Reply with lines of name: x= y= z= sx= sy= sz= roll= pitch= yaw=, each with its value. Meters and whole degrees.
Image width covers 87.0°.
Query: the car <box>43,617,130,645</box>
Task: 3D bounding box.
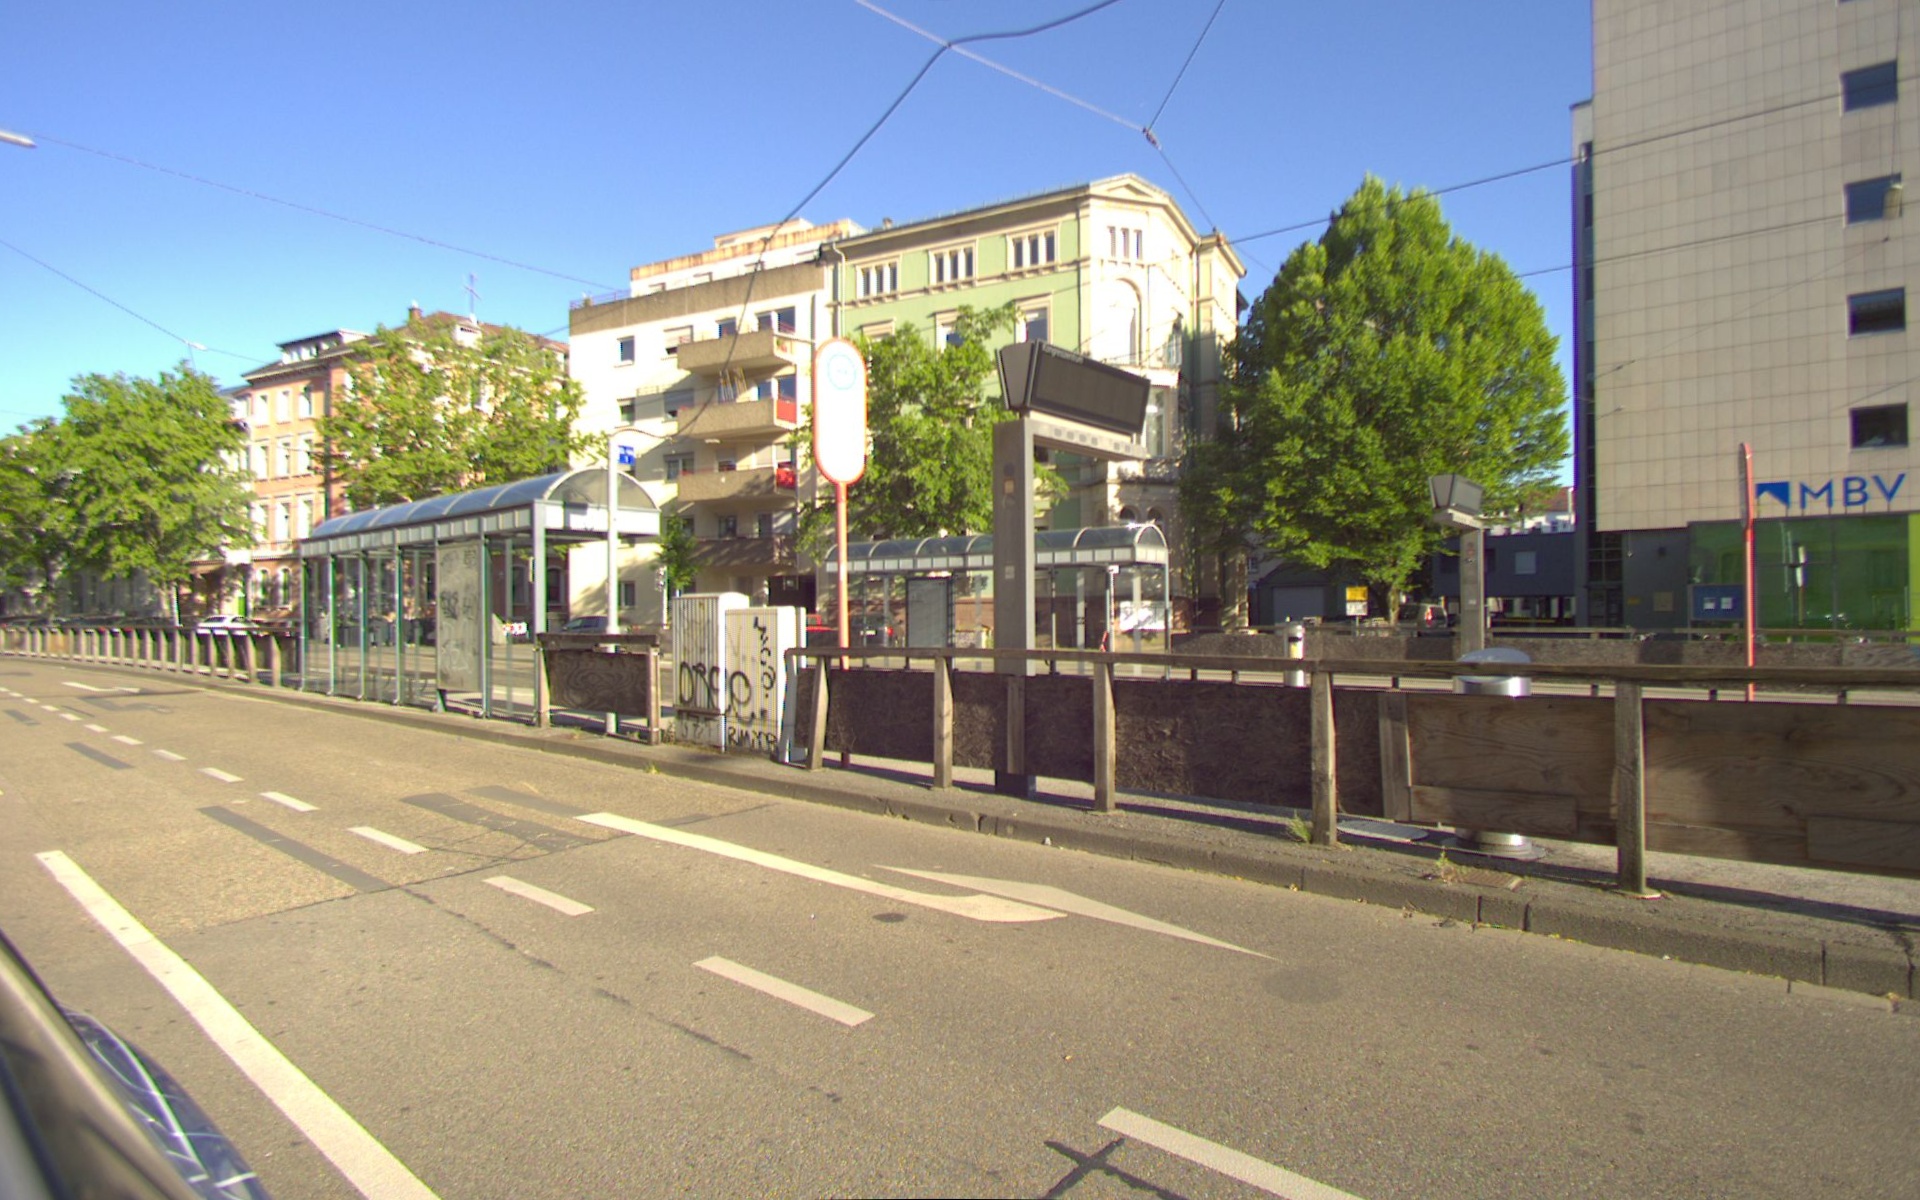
car: x=-54.308 y=1.927 z=62.965 sx=2.001 sy=1.697 sz=3.942 roll=-2 pitch=-2 yaw=44

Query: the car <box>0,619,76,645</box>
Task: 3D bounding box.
car: x=-59.617 y=2.052 z=65.276 sx=3.811 sy=1.604 sz=2.001 roll=1 pitch=-2 yaw=-45

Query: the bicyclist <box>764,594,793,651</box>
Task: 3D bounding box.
bicyclist: x=-5.719 y=0.710 z=31.834 sx=0.770 sy=1.774 sz=0.529 roll=-3 pitch=-3 yaw=41

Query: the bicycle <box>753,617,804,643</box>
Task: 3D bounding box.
bicycle: x=-5.726 y=0.938 z=31.842 sx=1.852 sy=0.793 sz=0.529 roll=-3 pitch=-2 yaw=41

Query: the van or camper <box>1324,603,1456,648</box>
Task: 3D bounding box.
van or camper: x=15.498 y=0.884 z=36.552 sx=3.998 sy=1.417 sz=1.943 roll=2 pitch=0 yaw=41

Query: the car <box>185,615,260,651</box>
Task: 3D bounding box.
car: x=-39.529 y=1.747 z=54.381 sx=1.966 sy=1.736 sz=4.012 roll=0 pitch=1 yaw=-15

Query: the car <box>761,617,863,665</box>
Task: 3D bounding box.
car: x=-5.009 y=1.362 z=34.695 sx=1.763 sy=1.547 sz=3.763 roll=-1 pitch=-2 yaw=23

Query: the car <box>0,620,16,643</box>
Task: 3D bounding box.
car: x=-68.107 y=2.184 z=70.121 sx=2.001 sy=1.604 sz=3.812 roll=-2 pitch=-2 yaw=44

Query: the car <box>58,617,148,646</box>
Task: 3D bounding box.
car: x=-51.301 y=1.881 z=60.636 sx=2.001 sy=1.697 sz=3.942 roll=-2 pitch=-2 yaw=44

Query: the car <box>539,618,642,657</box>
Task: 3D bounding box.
car: x=-14.010 y=1.410 z=38.400 sx=3.498 sy=1.406 sz=1.602 roll=-1 pitch=-2 yaw=22

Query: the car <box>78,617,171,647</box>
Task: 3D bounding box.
car: x=-47.984 y=1.819 z=58.163 sx=2.001 sy=1.697 sz=3.942 roll=-2 pitch=-2 yaw=44
